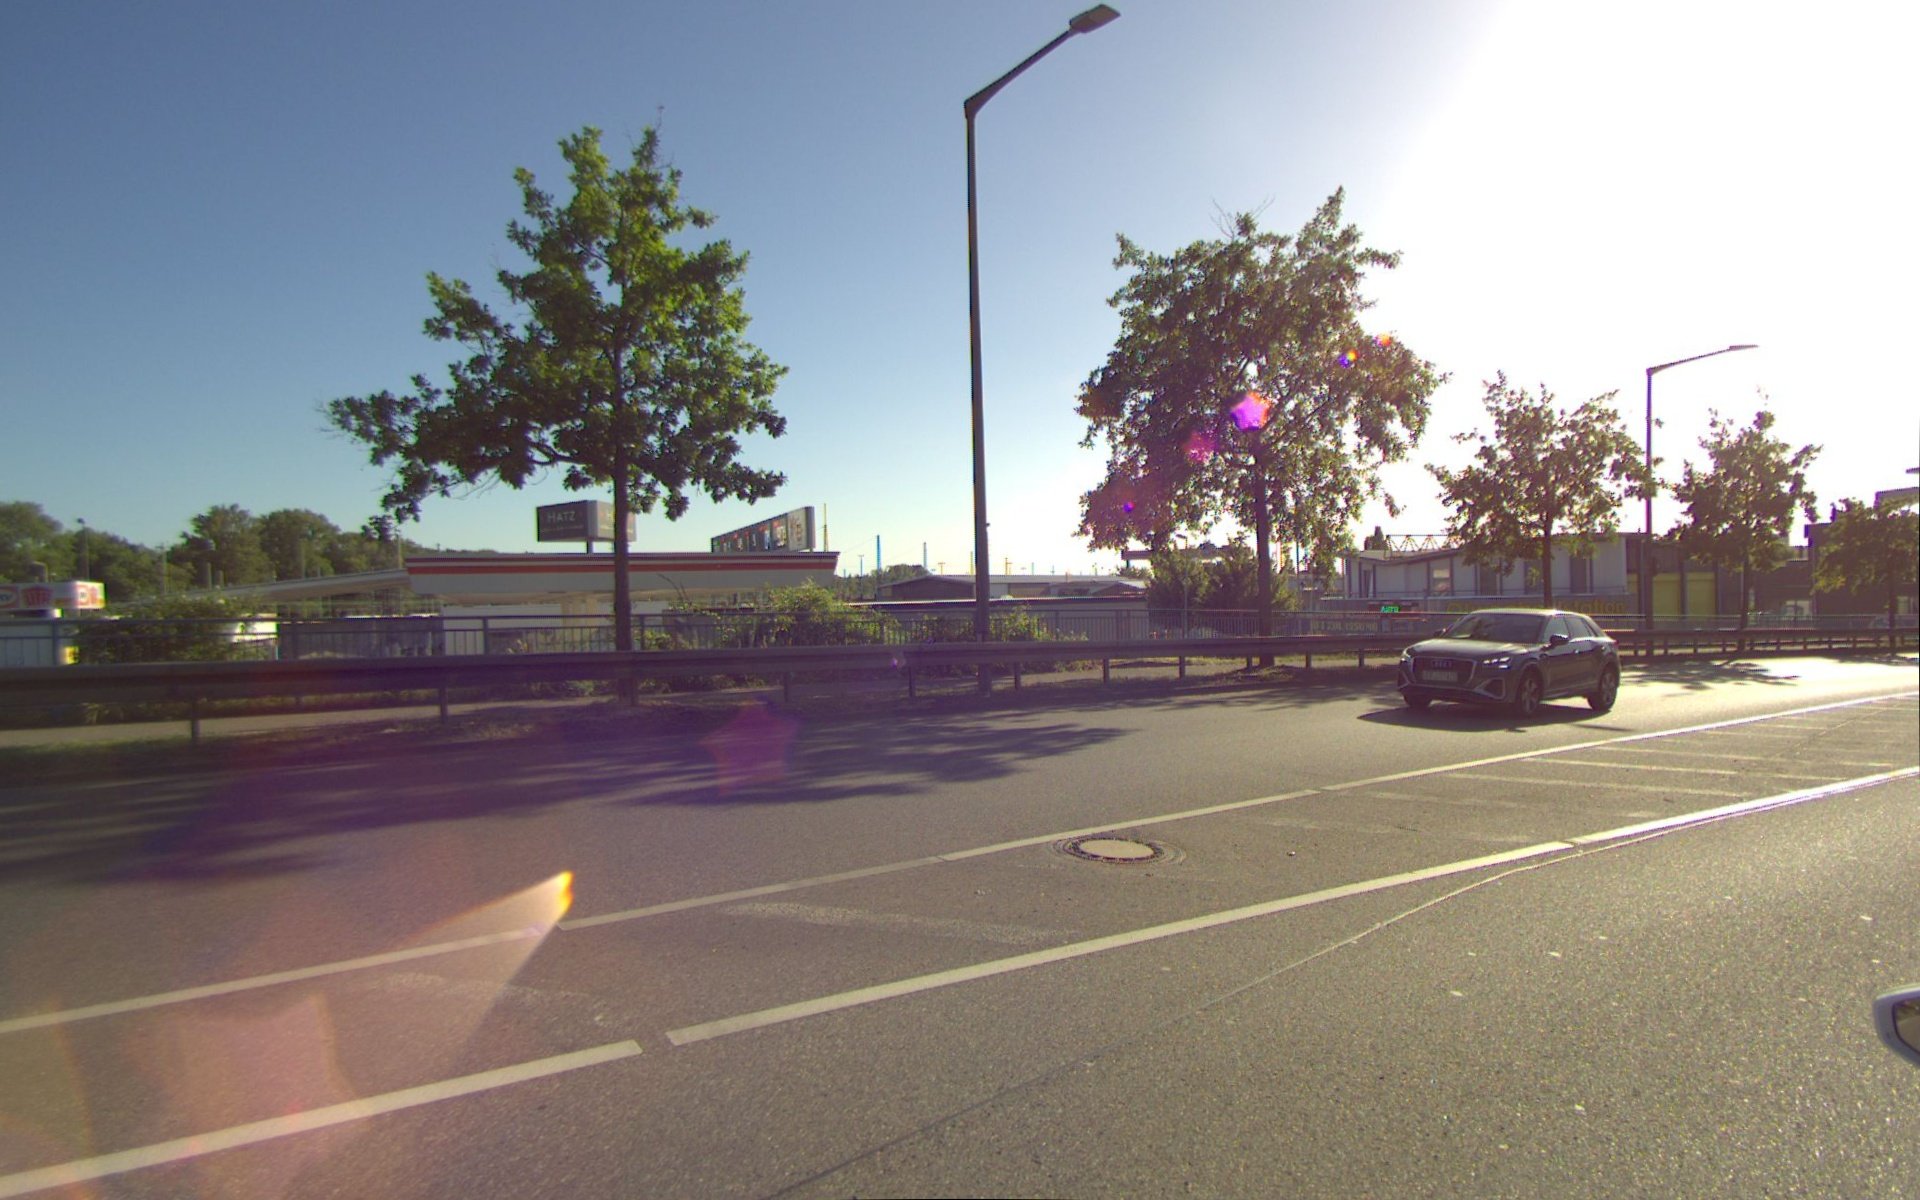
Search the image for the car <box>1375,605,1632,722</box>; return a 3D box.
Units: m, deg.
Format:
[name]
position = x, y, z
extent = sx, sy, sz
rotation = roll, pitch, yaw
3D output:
[car]
position = 8.320, 0.875, 15.246
extent = 4.235, 1.509, 1.750
rotation = 1, 1, -36
